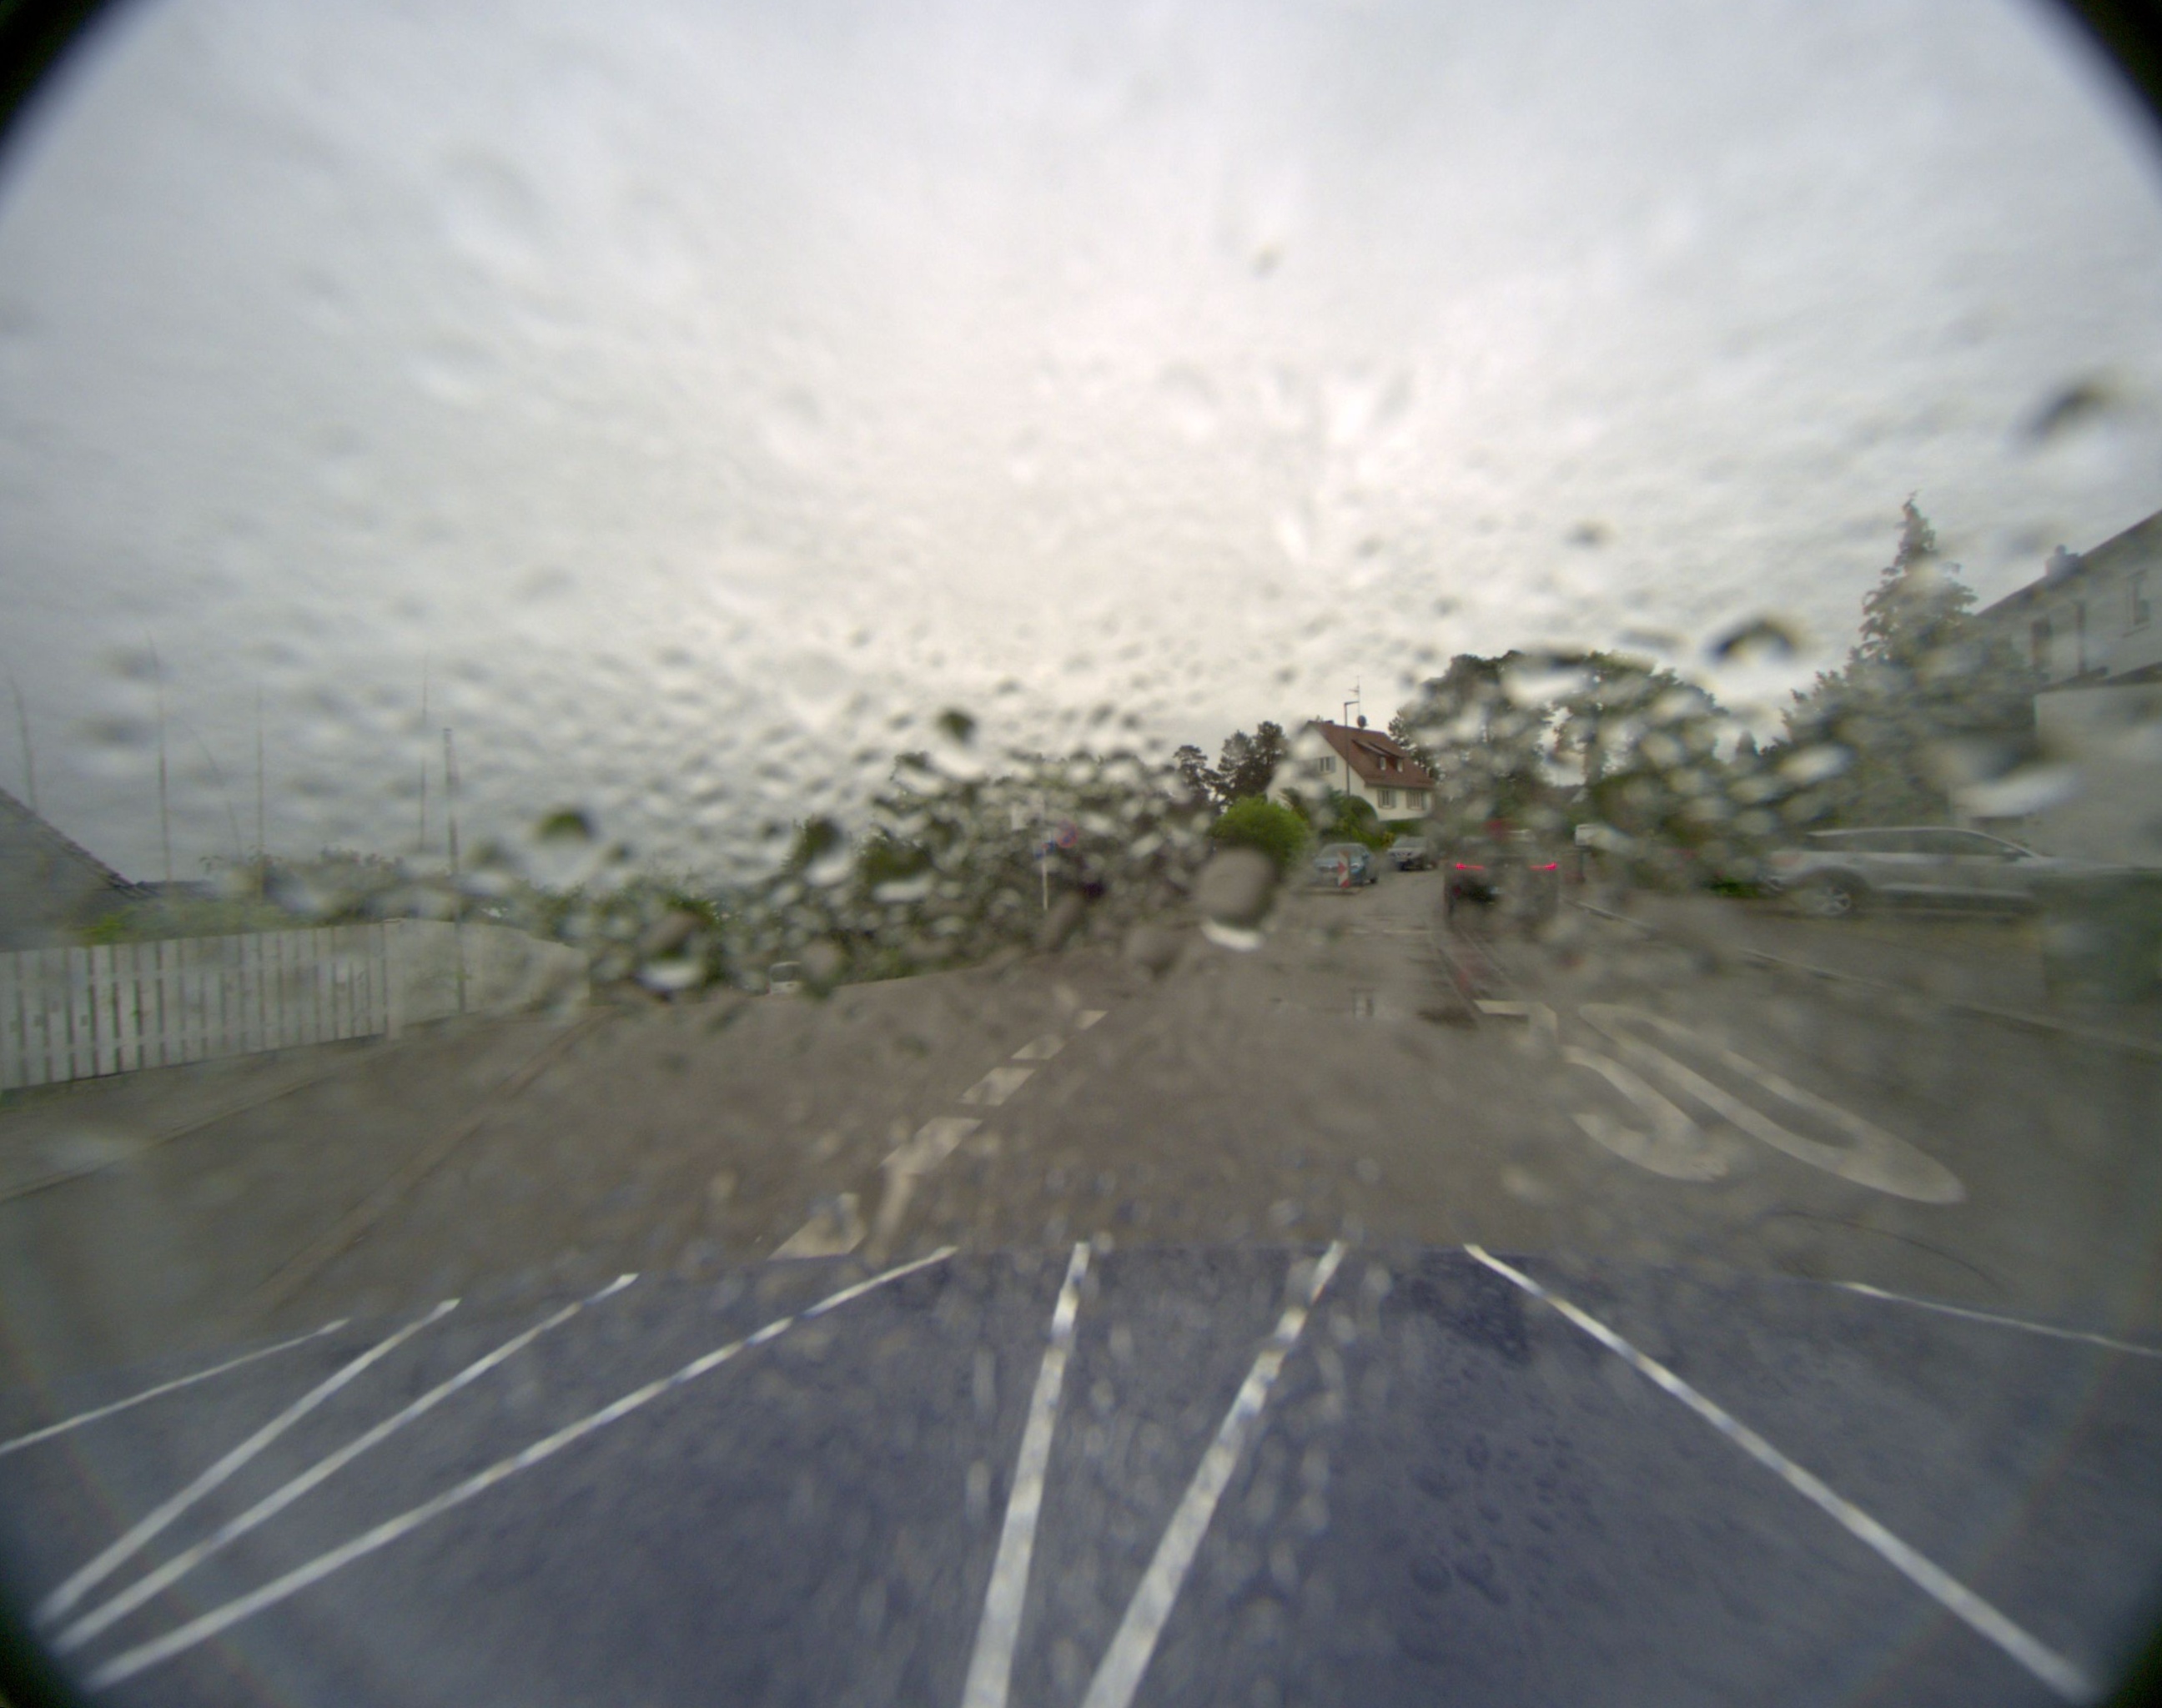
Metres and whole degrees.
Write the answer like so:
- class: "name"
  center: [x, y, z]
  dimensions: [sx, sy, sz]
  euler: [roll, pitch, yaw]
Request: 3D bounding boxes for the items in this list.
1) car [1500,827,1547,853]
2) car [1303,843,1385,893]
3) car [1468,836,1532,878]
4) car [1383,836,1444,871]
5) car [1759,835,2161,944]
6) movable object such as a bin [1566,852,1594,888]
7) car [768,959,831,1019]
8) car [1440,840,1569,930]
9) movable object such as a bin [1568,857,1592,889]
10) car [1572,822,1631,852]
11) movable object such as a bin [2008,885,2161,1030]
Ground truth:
- class: "car"
  center: [30.020, -0.948, 51.494]
  dimensions: [4.224, 1.630, 1.661]
  euler: [-3, 1, -44]
- class: "car"
  center: [8.977, 0.432, 25.719]
  dimensions: [1.796, 1.460, 4.223]
  euler: [-2, 1, 30]
- class: "car"
  center: [17.684, 0.082, 31.989]
  dimensions: [1.789, 1.585, 4.223]
  euler: [-2, 1, 36]
- class: "car"
  center: [16.200, -0.038, 36.895]
  dimensions: [1.902, 1.532, 4.223]
  euler: [-2, 1, 34]
- class: "car"
  center: [13.558, 0.450, 12.058]
  dimensions: [3.988, 1.432, 1.772]
  euler: [0, 3, 36]
- class: "movable object such as a bin"
  center: [15.205, 0.470, 23.156]
  dimensions: [0.692, 1.085, 0.421]
  euler: [1, 1, 33]
- class: "car"
  center: [-9.814, 4.796, 26.687]
  dimensions: [1.756, 1.728, 4.003]
  euler: [-3, -11, -17]
- class: "car"
  center: [8.692, 0.531, 15.972]
  dimensions: [1.931, 1.596, 4.350]
  euler: [-1, 1, 23]
- class: "movable object such as a bin"
  center: [14.936, 0.549, 22.767]
  dimensions: [0.579, 0.934, 0.505]
  euler: [1, 1, 33]
- class: "car"
  center: [34.868, -1.145, 50.858]
  dimensions: [4.222, 1.854, 1.778]
  euler: [-2, 1, -33]
- class: "movable object such as a bin"
  center: [8.304, 0.812, 6.105]
  dimensions: [0.846, 1.061, 0.623]
  euler: [-4, -1, 25]
